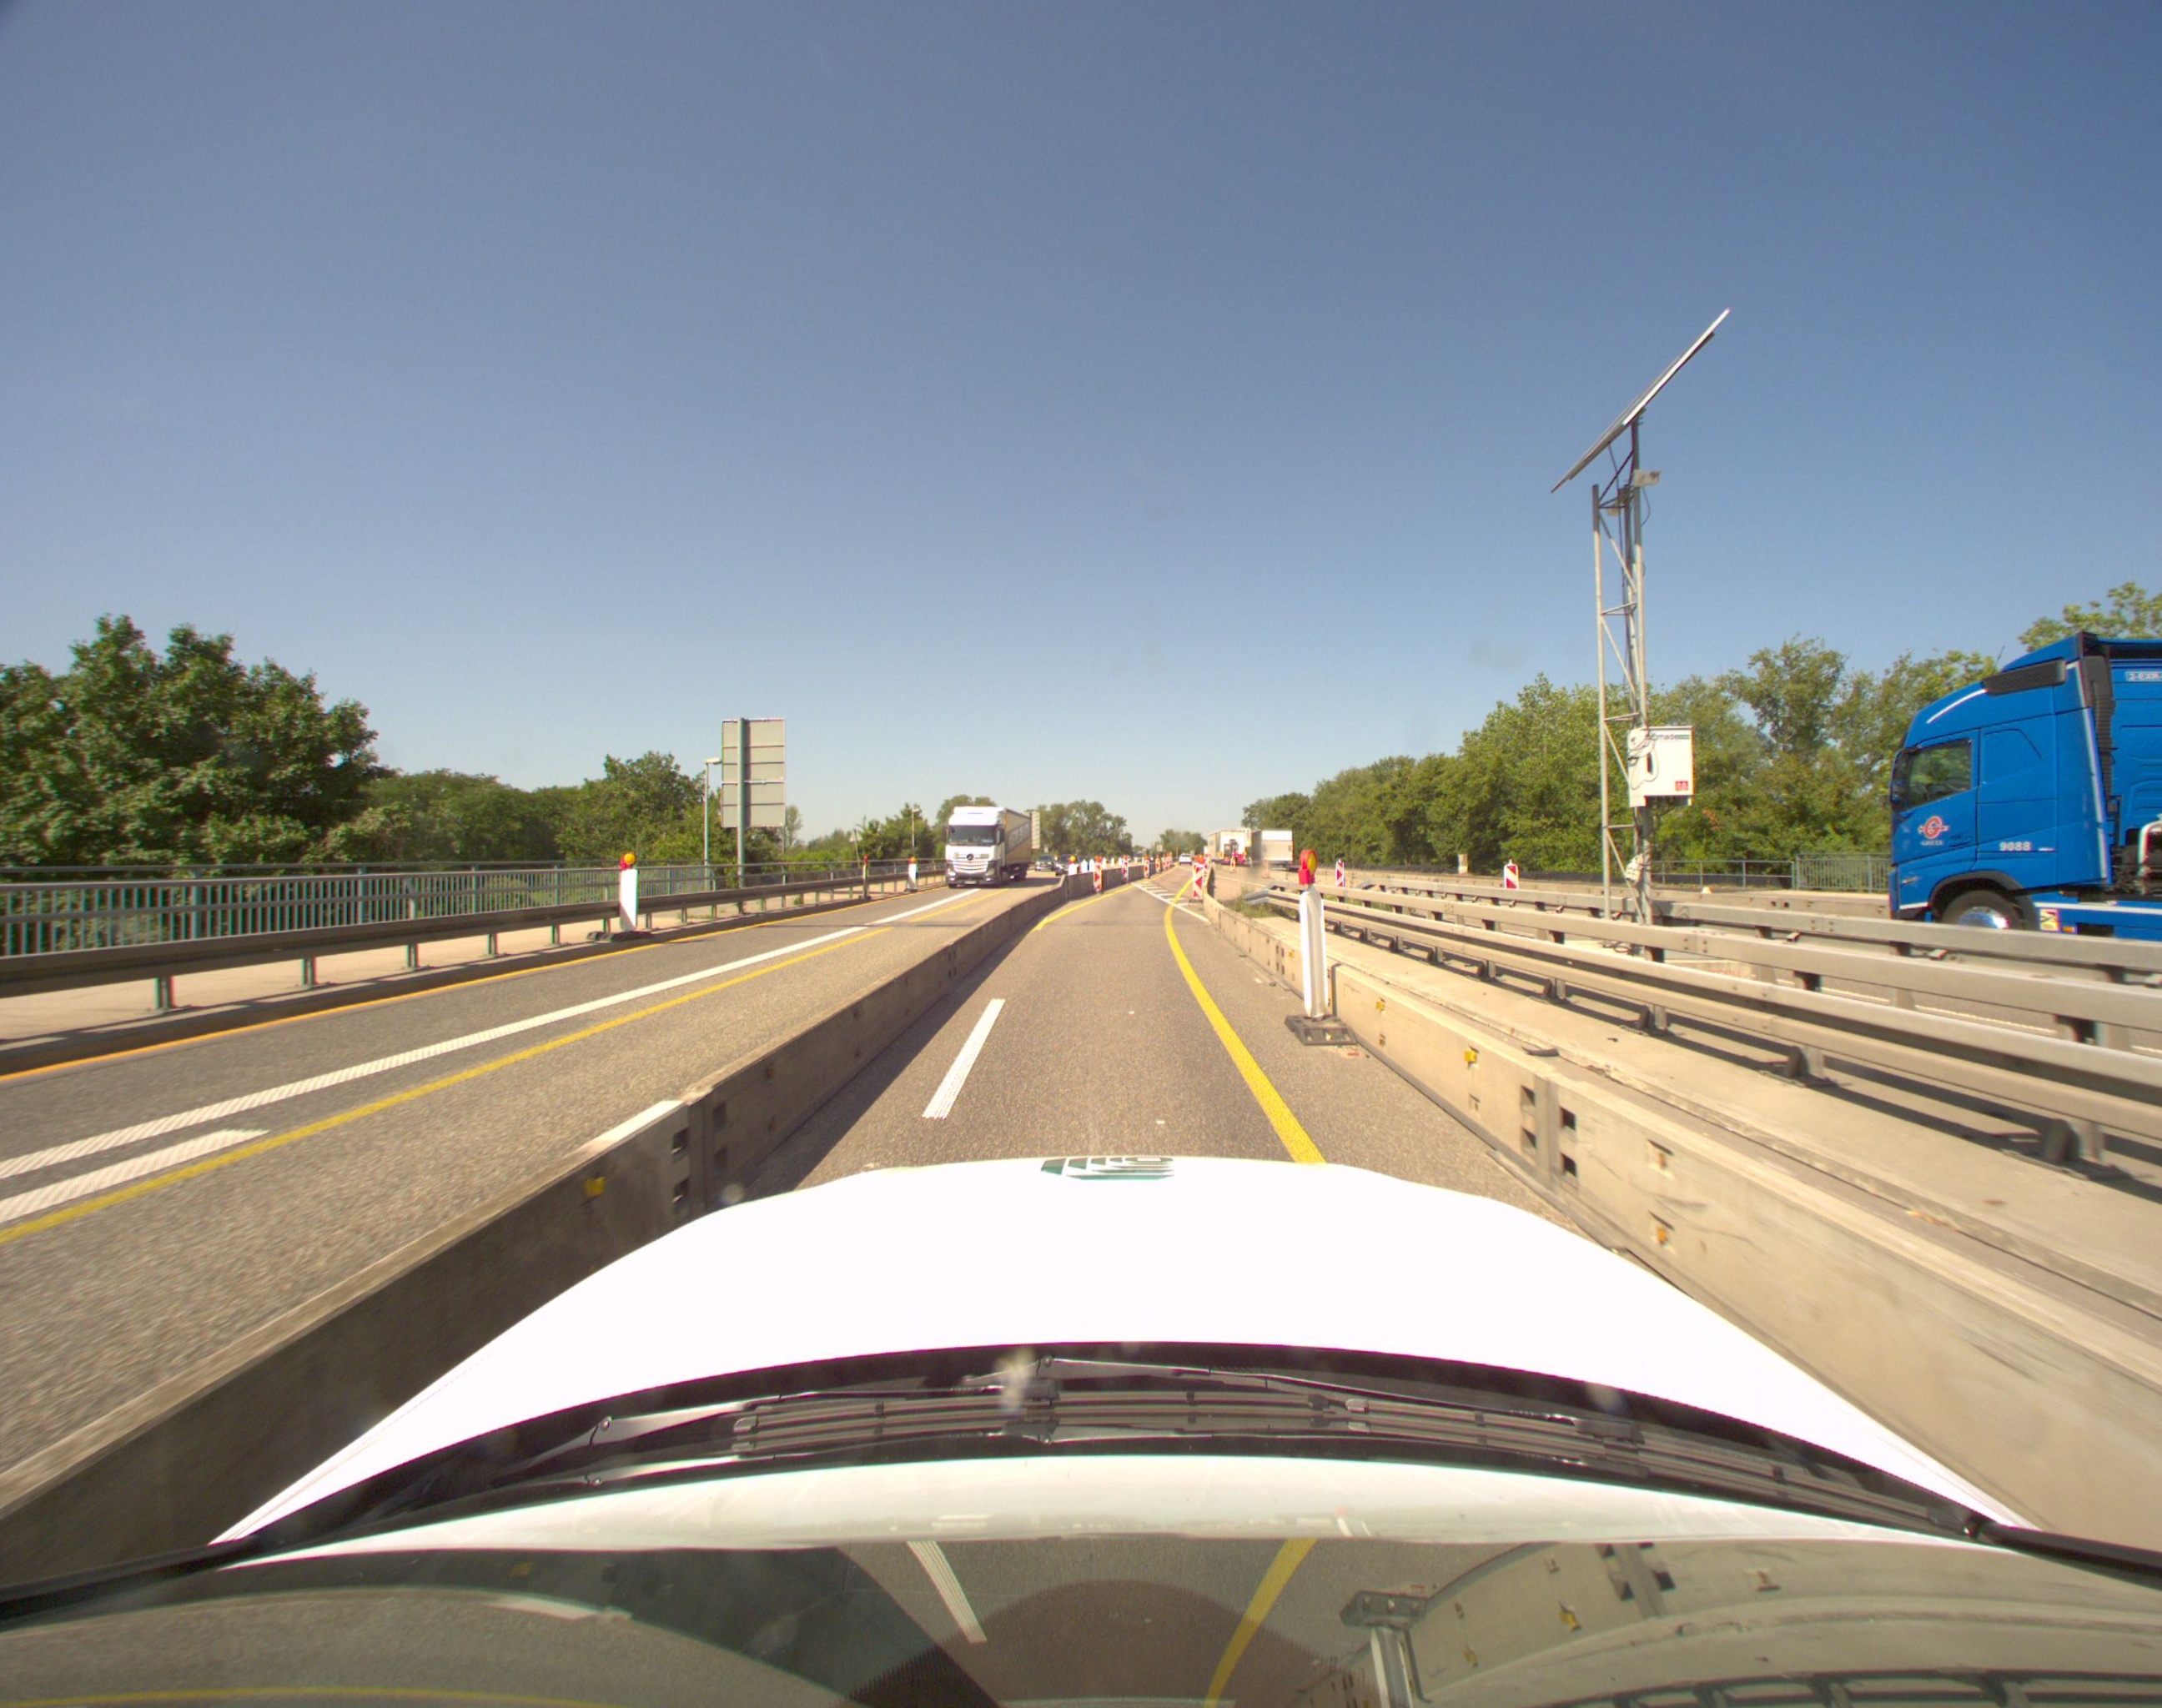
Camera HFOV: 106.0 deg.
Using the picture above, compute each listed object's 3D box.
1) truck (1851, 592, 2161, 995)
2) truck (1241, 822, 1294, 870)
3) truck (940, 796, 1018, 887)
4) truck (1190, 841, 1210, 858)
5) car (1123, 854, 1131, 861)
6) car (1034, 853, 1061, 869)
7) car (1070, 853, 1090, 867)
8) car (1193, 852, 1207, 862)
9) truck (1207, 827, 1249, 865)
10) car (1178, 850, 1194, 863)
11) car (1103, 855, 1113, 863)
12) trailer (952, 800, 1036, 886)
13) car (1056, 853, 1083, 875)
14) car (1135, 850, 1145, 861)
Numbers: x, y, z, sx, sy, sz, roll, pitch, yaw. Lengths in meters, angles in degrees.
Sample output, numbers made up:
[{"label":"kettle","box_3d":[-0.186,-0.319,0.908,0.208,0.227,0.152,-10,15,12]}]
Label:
[{"label":"truck","box_3d":[12.341,-0.637,8.144,2.682,4.102,7.309,-1,0,4]},{"label":"truck","box_3d":[14.361,-0.628,63.238,2.624,3.427,7.236,-2,0,2]},{"label":"truck","box_3d":[-4.974,-0.553,40.783,2.739,4.136,6.419,-1,0,2]},{"label":"truck","box_3d":[30.262,-1.116,207.607,4.202,4.266,10.251,-1,0,4]},{"label":"car","box_3d":[10.517,0.813,186.994,1.711,1.397,4.526,0,0,5]},{"label":"car","box_3d":[-3.177,0.625,78.231,1.923,1.508,4.475,-1,0,5]},{"label":"car","box_3d":[-0.108,0.576,84.853,1.681,1.376,4.278,-1,0,5]},{"label":"car","box_3d":[21.158,0.515,144.588,1.986,1.776,4.001,-1,0,2]},{"label":"truck","box_3d":[15.581,-0.834,86.859,3.376,3.774,7.235,-1,0,2]},{"label":"car","box_3d":[15.092,0.335,117.069,1.810,1.776,4.002,-1,0,2]},{"label":"car","box_3d":[5.415,0.973,163.118,1.729,1.476,4.651,-1,0,4]},{"label":"trailer","box_3d":[-4.674,-0.528,47.426,2.750,4.136,14.538,-1,0,2]},{"label":"car","box_3d":[-0.818,0.708,60.764,1.783,1.568,3.874,-1,0,2]},{"label":"car","box_3d":[15.063,0.375,206.436,2.134,2.660,5.559,0,0,8]}]
